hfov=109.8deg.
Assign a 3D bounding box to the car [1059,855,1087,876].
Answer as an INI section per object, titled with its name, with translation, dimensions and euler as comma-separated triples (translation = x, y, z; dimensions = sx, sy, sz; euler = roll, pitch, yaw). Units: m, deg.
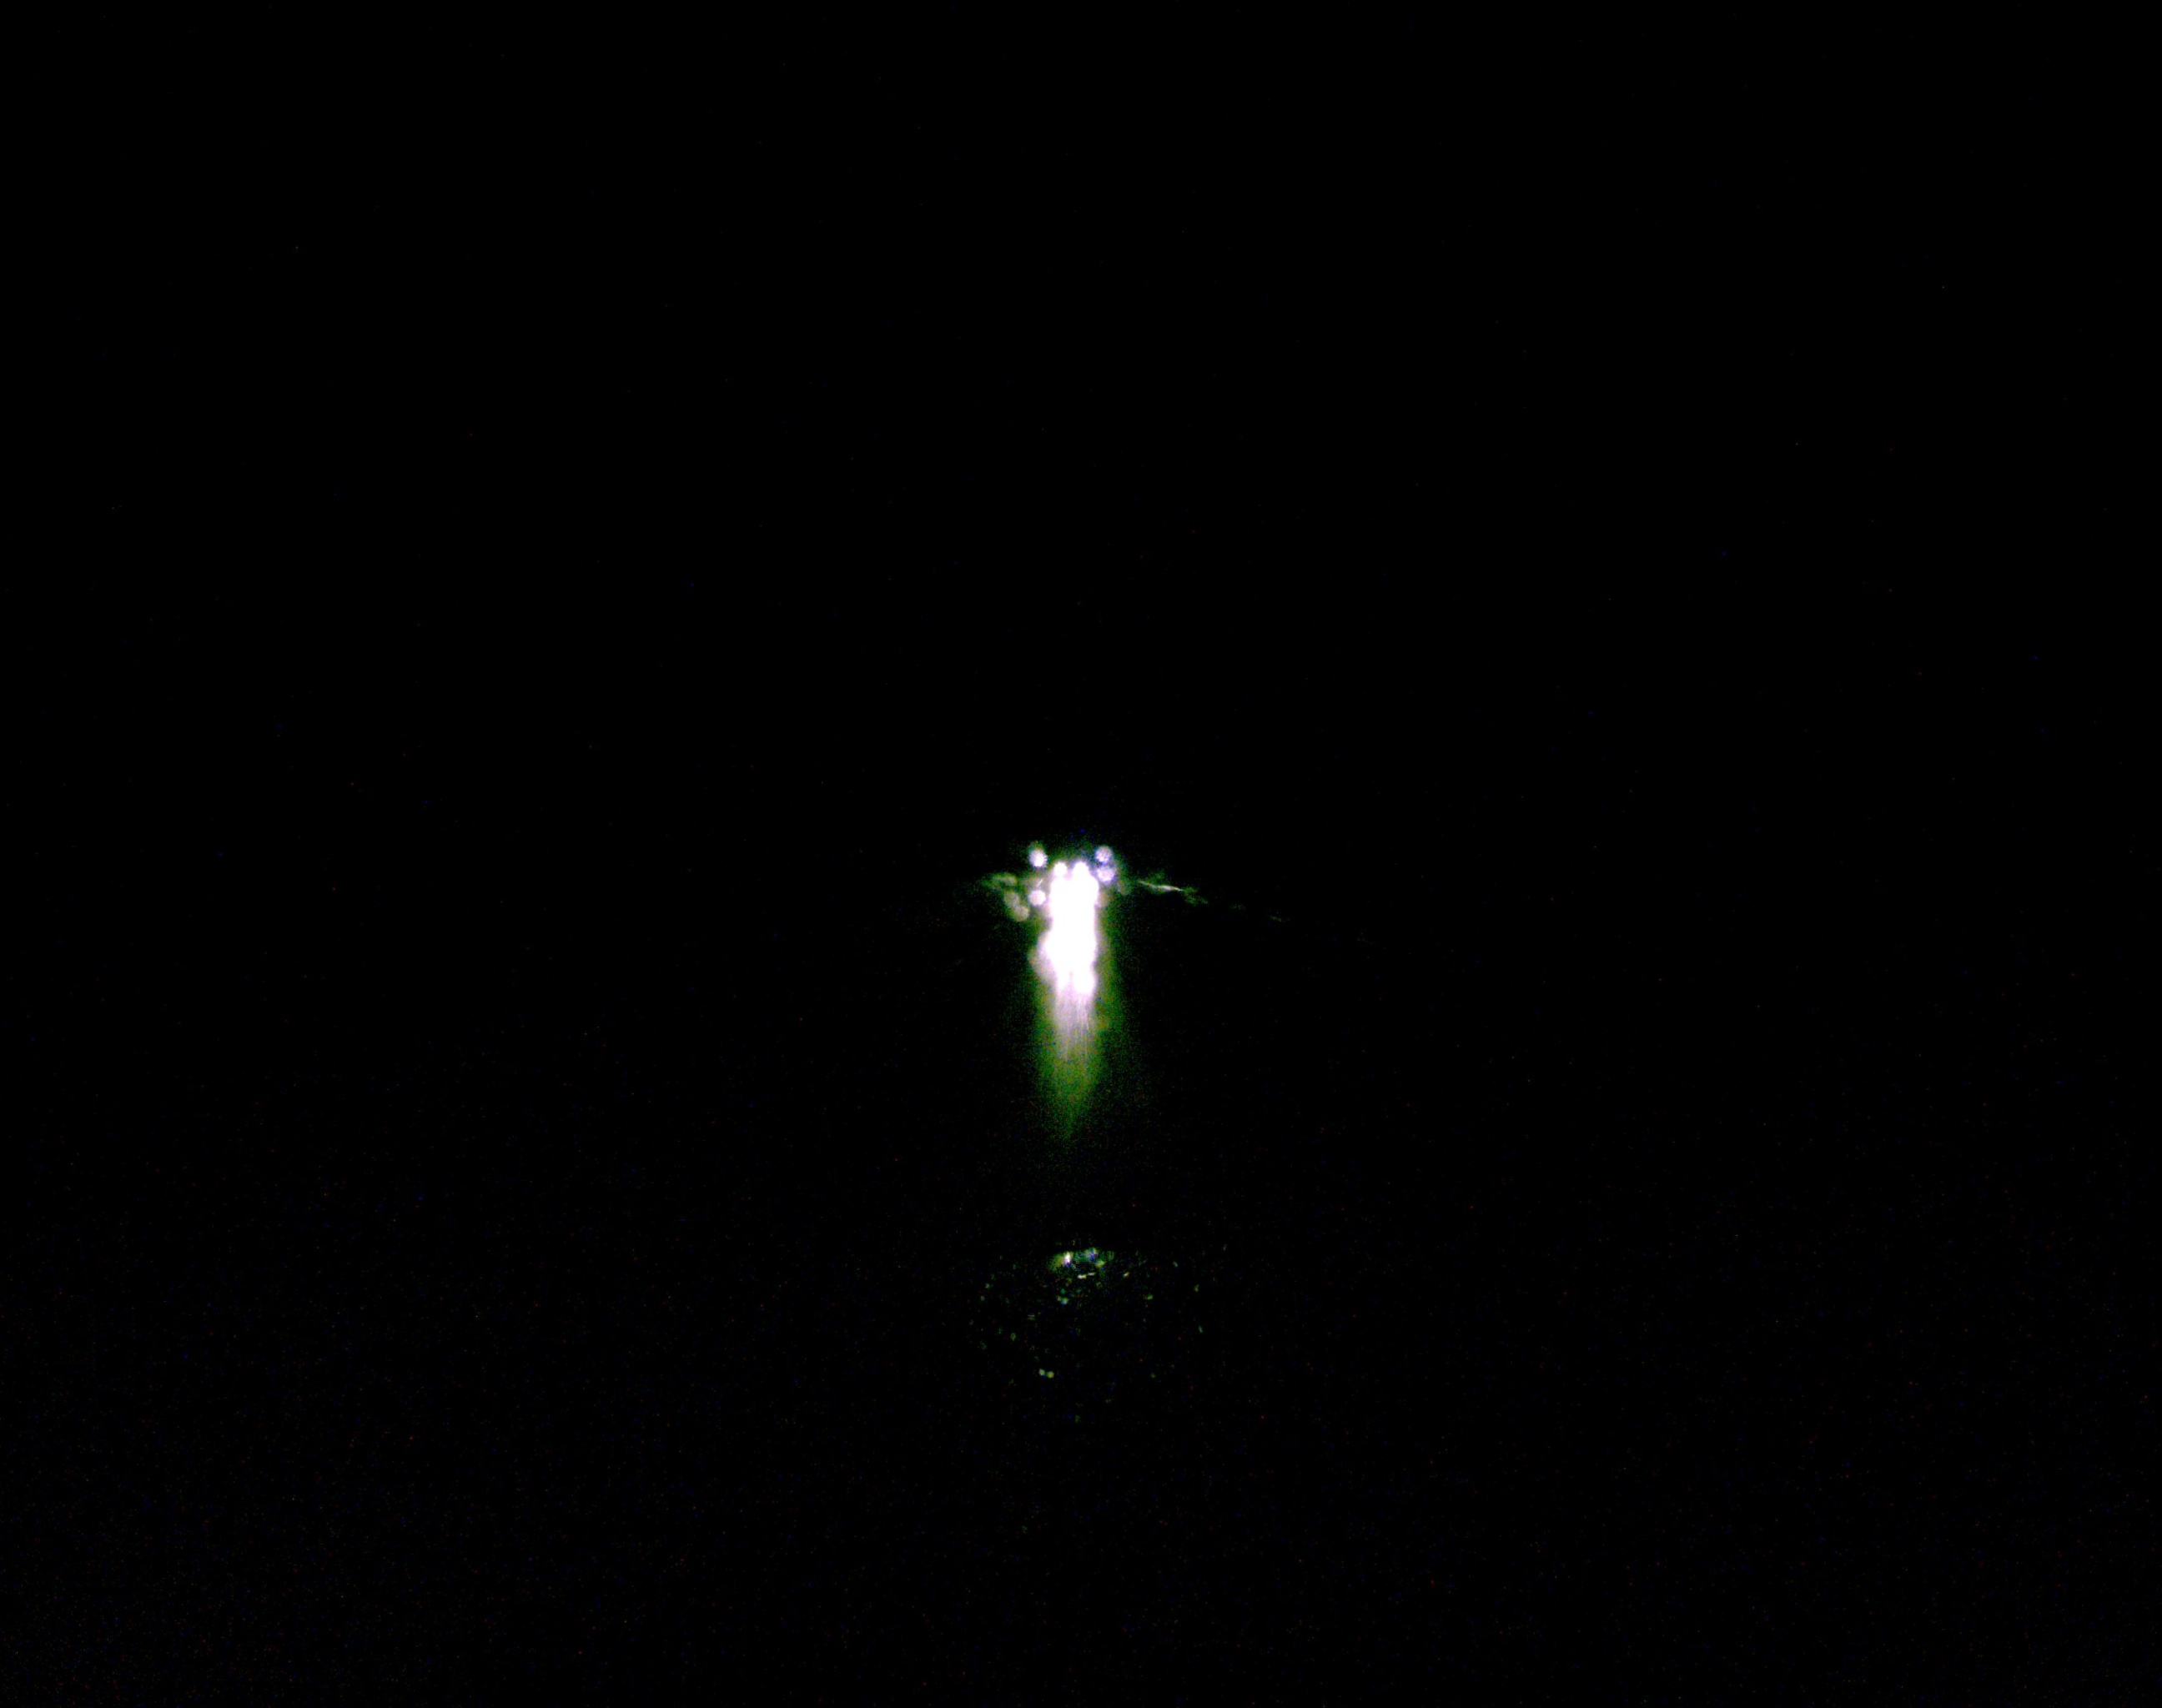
[car]
translation = -0.616, 0.840, 56.583
dimensions = 1.999, 1.412, 3.999
euler = -1, 1, -1
